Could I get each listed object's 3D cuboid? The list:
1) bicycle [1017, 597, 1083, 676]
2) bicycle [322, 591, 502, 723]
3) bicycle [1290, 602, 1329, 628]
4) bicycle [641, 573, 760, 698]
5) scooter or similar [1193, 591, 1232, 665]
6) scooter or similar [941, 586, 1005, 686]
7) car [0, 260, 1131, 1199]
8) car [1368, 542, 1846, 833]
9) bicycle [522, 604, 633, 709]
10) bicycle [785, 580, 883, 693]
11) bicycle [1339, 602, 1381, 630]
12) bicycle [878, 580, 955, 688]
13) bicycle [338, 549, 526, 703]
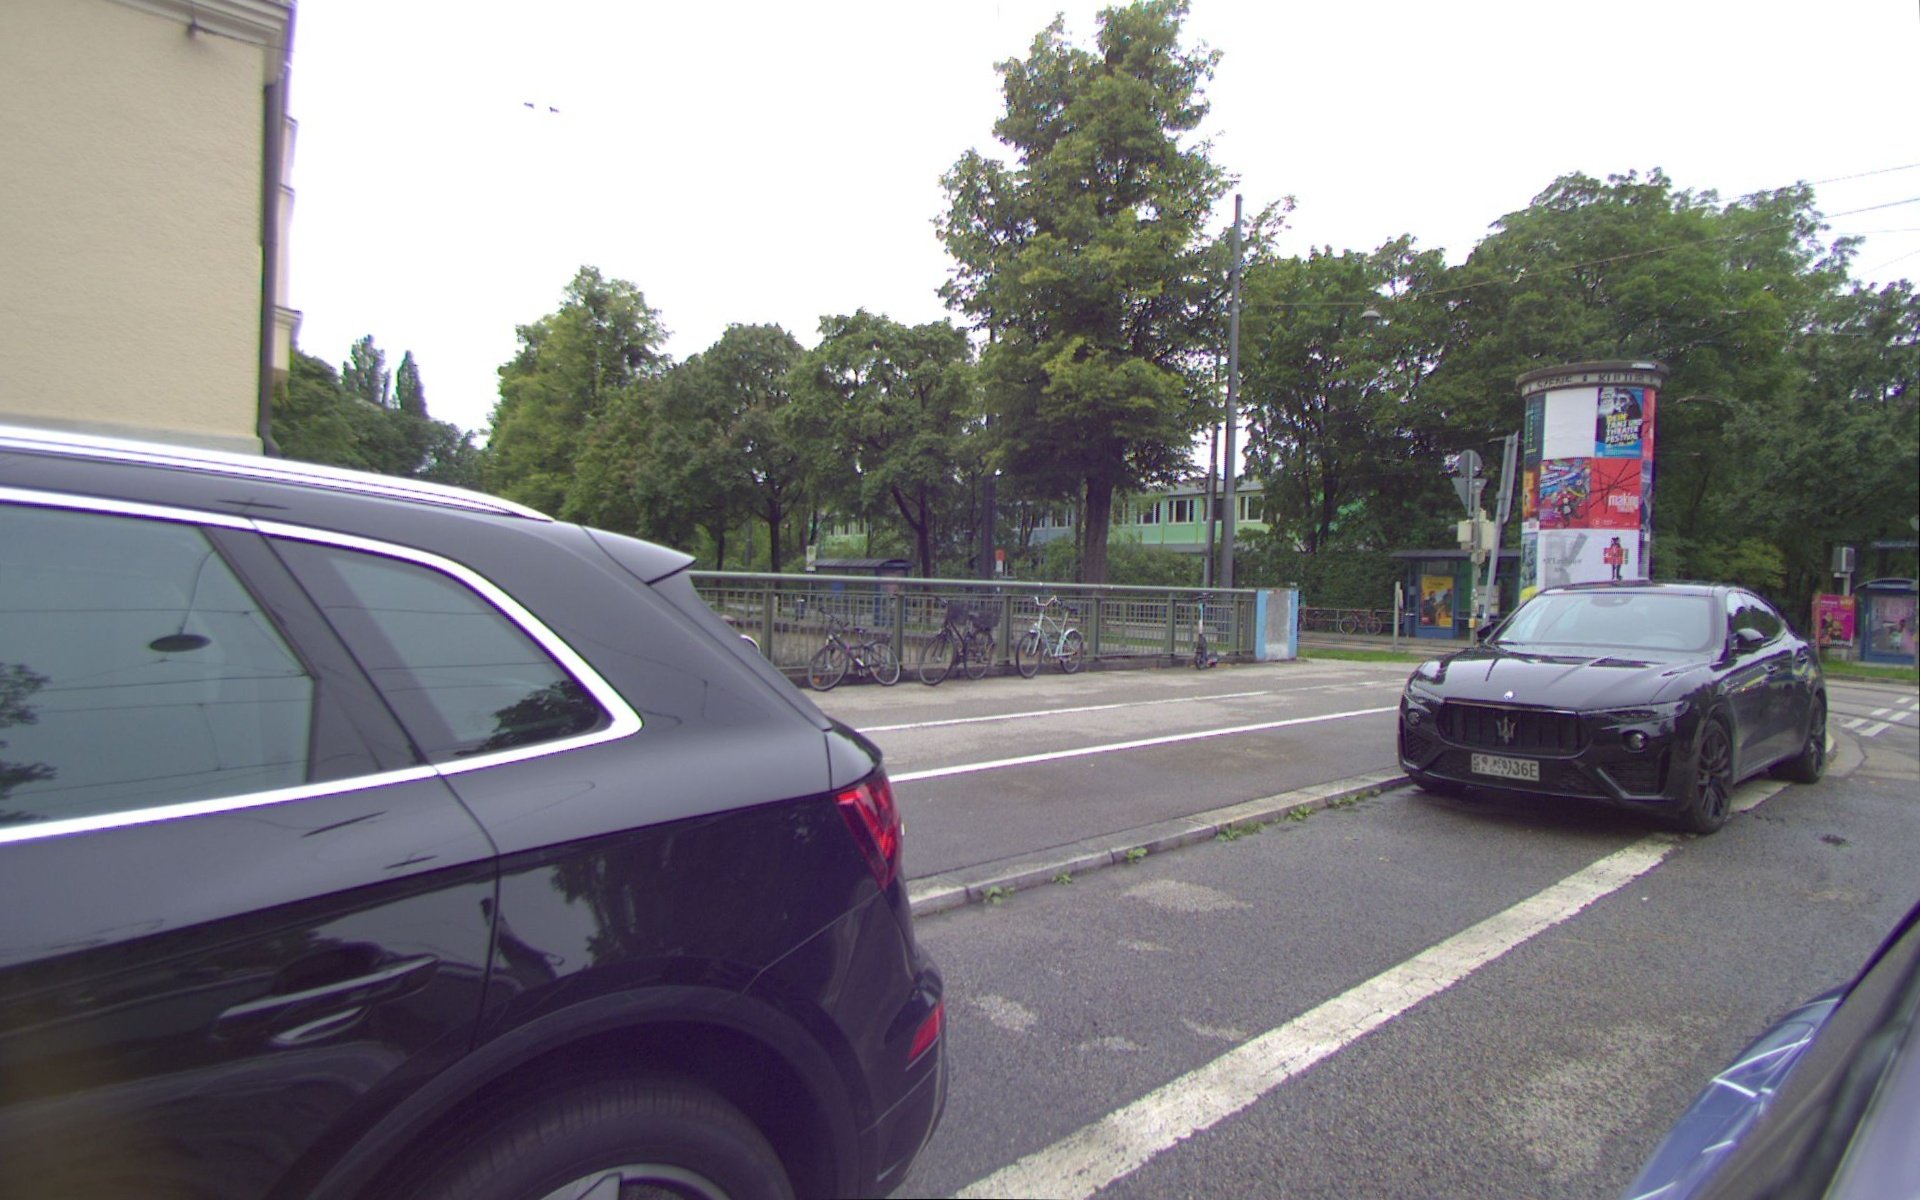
[{"bbox_3d":[1.338,0.508,14.789,0.263,1.096,1.524,0,0,34],"label":"bicycle"},{"bbox_3d":[-4.954,0.480,9.219,0.286,1.120,1.421,1,1,42],"label":"bicycle"},{"bbox_3d":[13.648,0.591,39.514,0.366,0.964,1.483,0,1,-38],"label":"bicycle"},{"bbox_3d":[-2.833,0.371,11.140,0.281,1.298,1.391,0,0,38],"label":"bicycle"},{"bbox_3d":[4.305,0.469,17.248,0.224,1.227,1.006,0,-1,40],"label":"scooter or similar"},{"bbox_3d":[0.195,0.455,13.555,0.242,1.279,1.482,0,0,26],"label":"scooter or similar"},{"bbox_3d":[-1.903,0.509,1.282,4.408,1.679,1.778,0,0,-40],"label":"car"},{"bbox_3d":[5.226,0.516,7.898,4.582,1.630,1.904,1,-1,-40],"label":"car"},{"bbox_3d":[-3.809,0.540,10.131,0.247,0.946,1.133,5,3,28],"label":"bicycle"},{"bbox_3d":[-1.501,0.415,12.212,0.281,1.298,1.391,0,0,38],"label":"bicycle"},{"bbox_3d":[14.878,0.591,37.690,0.366,0.964,1.483,0,1,-38],"label":"bicycle"},{"bbox_3d":[-0.534,0.411,12.908,0.280,1.298,1.395,0,0,29],"label":"bicycle"},{"bbox_3d":[-4.865,0.225,9.400,1.511,1.329,0.332,0,-1,-42],"label":"bicycle"}]
